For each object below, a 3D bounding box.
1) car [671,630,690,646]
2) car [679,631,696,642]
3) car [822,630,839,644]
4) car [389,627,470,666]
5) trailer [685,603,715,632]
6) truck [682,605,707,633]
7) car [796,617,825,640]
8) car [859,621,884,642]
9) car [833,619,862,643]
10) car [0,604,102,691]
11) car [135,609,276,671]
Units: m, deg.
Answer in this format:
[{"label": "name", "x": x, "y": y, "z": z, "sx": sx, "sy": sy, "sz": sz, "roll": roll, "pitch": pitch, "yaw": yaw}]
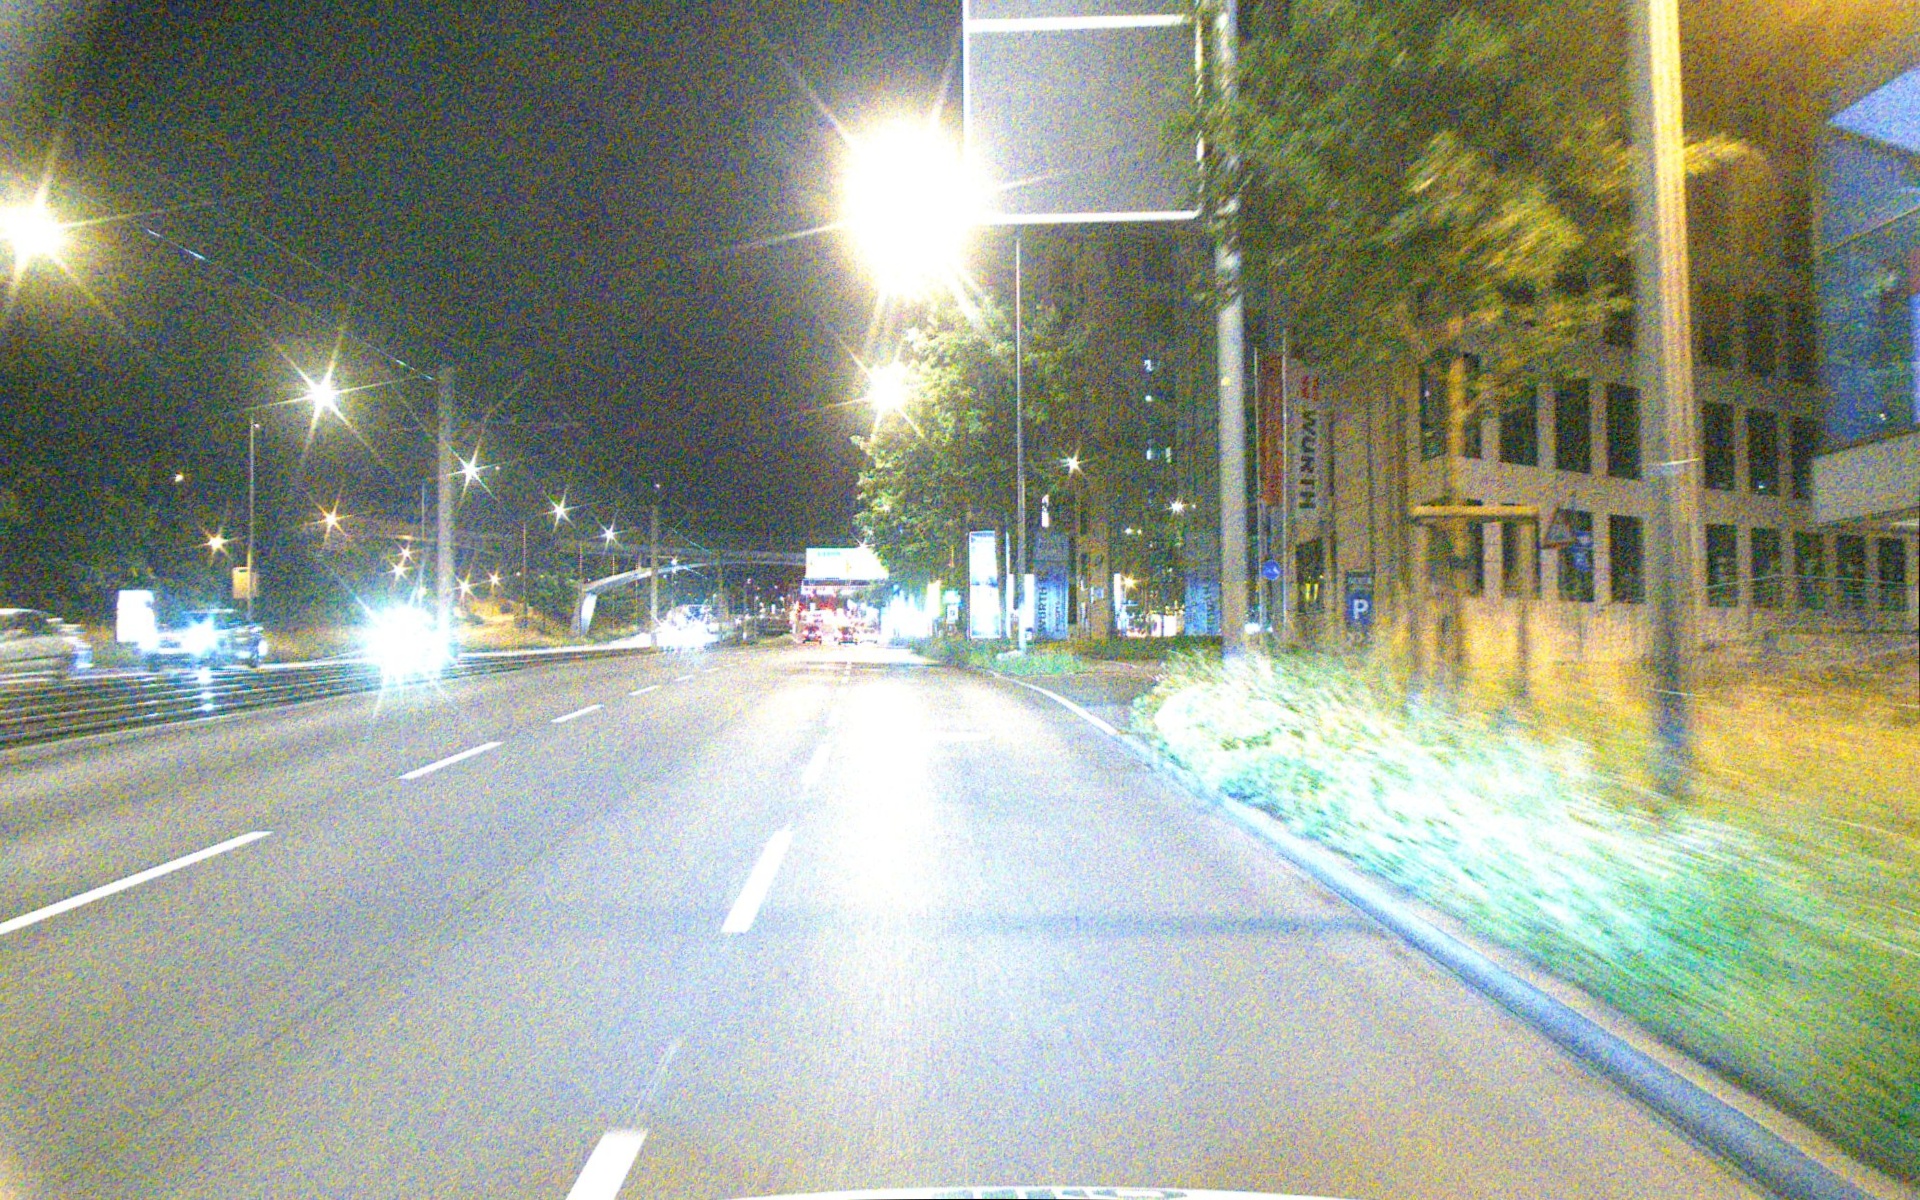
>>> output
[{"label": "car", "x": -32.941, "y": 4.506, "z": 195.093, "sx": 1.827, "sy": 1.781, "sz": 3.698, "roll": 0, "pitch": -1, "yaw": -4}, {"label": "car", "x": -35.833, "y": 4.795, "z": 217.766, "sx": 1.873, "sy": 1.499, "sz": 3.768, "roll": 0, "pitch": -1, "yaw": -4}, {"label": "car", "x": -14.762, "y": 4.209, "z": 188.563, "sx": 1.954, "sy": 1.580, "sz": 3.997, "roll": 0, "pitch": -1, "yaw": -4}, {"label": "car", "x": -21.236, "y": 1.829, "z": 66.398, "sx": 1.829, "sy": 1.454, "sz": 4.953, "roll": 1, "pitch": -1, "yaw": -3}, {"label": "trailer", "x": -37.994, "y": 2.579, "z": 242.178, "sx": 2.934, "sy": 4.070, "sz": 13.944, "roll": 0, "pitch": 0, "yaw": -3}, {"label": "truck", "x": -37.454, "y": 2.612, "z": 233.205, "sx": 2.980, "sy": 3.886, "sz": 4.931, "roll": 0, "pitch": -1, "yaw": -3}, {"label": "car", "x": -13.796, "y": 2.627, "z": 152.971, "sx": 2.216, "sy": 2.049, "sz": 4.825, "roll": 0, "pitch": -1, "yaw": -1}, {"label": "car", "x": -9.335, "y": 3.303, "z": 174.534, "sx": 2.378, "sy": 2.150, "sz": 4.825, "roll": 0, "pitch": -1, "yaw": -1}, {"label": "car", "x": -10.100, "y": 2.768, "z": 148.324, "sx": 2.308, "sy": 2.166, "sz": 4.825, "roll": 0, "pitch": -1, "yaw": -1}, {"label": "car", "x": -17.053, "y": 0.843, "z": 29.200, "sx": 1.587, "sy": 1.465, "sz": 4.336, "roll": -2, "pitch": 0, "yaw": -1}, {"label": "car", "x": -20.623, "y": 1.057, "z": 45.419, "sx": 1.824, "sy": 1.540, "sz": 4.612, "roll": -2, "pitch": 0, "yaw": -1}]
